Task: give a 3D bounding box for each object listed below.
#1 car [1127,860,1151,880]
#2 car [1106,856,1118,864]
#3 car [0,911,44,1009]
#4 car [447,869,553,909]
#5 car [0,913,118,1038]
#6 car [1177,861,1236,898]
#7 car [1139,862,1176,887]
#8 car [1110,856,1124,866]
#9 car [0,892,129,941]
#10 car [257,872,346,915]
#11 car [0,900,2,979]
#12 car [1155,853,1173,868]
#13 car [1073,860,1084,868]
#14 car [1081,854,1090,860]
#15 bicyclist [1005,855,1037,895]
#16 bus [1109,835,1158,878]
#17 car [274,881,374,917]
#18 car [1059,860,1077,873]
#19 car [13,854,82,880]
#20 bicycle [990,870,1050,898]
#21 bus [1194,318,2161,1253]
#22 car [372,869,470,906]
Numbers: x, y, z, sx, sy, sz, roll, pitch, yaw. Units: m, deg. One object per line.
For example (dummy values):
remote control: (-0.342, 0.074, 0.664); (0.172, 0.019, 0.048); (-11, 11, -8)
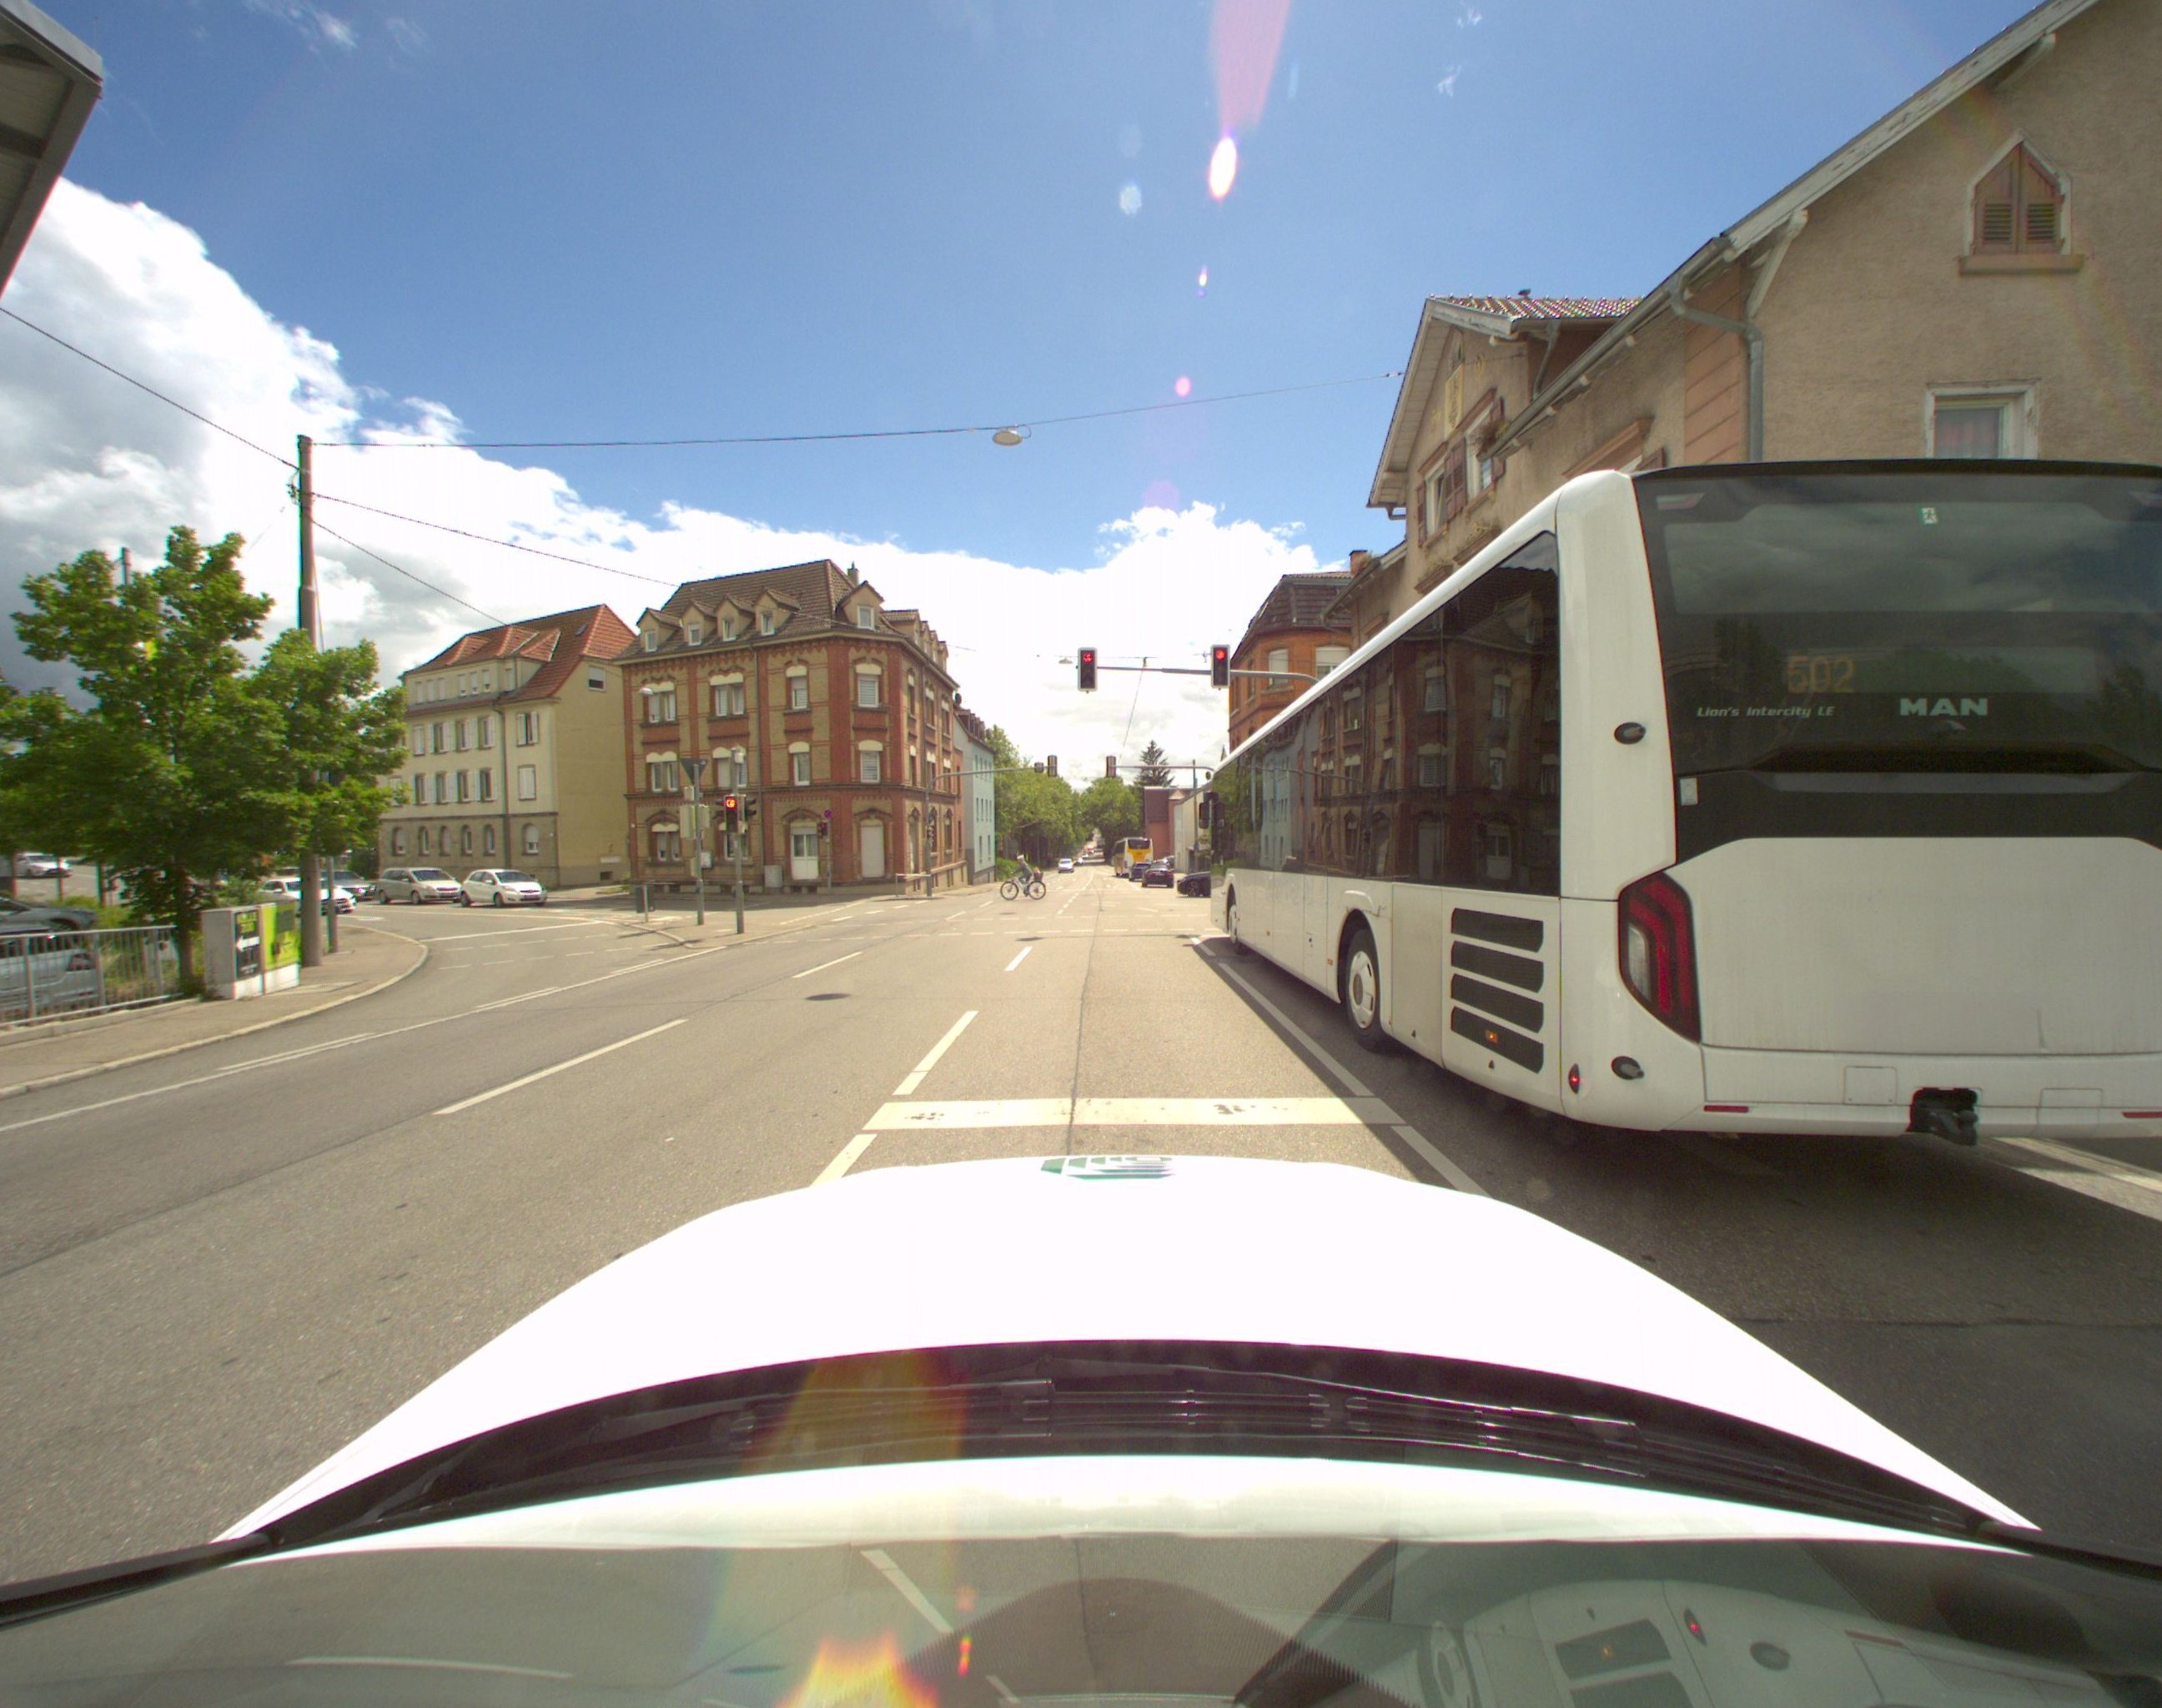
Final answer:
car: (4.335, 1.210, 61.111); (1.603, 1.376, 4.002); (-2, 0, 2)
car: (5.487, 1.090, 146.454); (1.874, 1.492, 3.998); (-2, 0, -1)
car: (-19.707, 1.837, 14.152); (3.744, 1.523, 1.526); (-1, 0, 30)
car: (-23.597, 1.392, 33.061); (3.951, 1.497, 1.711); (-1, 0, 24)
car: (-16.111, 1.745, 12.184); (3.638, 1.575, 1.766); (-1, -2, 34)
car: (4.844, 0.962, 31.990); (1.791, 1.276, 4.002); (-2, 0, 2)
car: (4.515, 1.190, 48.441); (1.858, 1.367, 4.549); (-2, 0, 2)
car: (5.733, 1.076, 129.459); (1.874, 1.492, 3.998); (-2, 0, -1)
car: (-29.250, 1.733, 22.213); (1.795, 1.186, 4.025); (-1, 0, 31)
car: (-30.094, 1.496, 31.396); (4.334, 1.447, 1.875); (-2, 0, 38)
car: (-23.399, 1.740, 16.431); (3.371, 1.575, 1.526); (-1, 0, 30)
car: (9.467, 0.765, 93.267); (1.760, 1.665, 4.002); (-2, 0, 2)
car: (-0.518, 1.887, 151.787); (1.858, 1.367, 4.549); (-2, 0, 2)
car: (1.114, 0.838, 212.865); (2.199, 1.613, 4.549); (-2, 0, 2)
bicyclist: (-2.305, 0.795, 31.362); (1.065, 1.499, 0.592); (-2, 0, 10)
bus: (4.803, 0.222, 76.997); (3.292, 3.631, 11.233); (-2, 0, -2)
car: (-35.451, 2.078, 38.138); (3.951, 1.519, 2.011); (-1, 0, 24)
car: (-1.627, 1.575, 102.206); (1.928, 1.563, 4.390); (-2, 0, 2)
car: (-66.307, 0.831, 52.228); (4.291, 1.586, 2.012); (-1, 0, 29)
bicycle: (-2.341, 1.149, 31.353); (2.172, 1.019, 0.608); (-2, 0, 9)
bus: (3.432, -0.216, 9.311); (2.893, 3.510, 12.492); (0, 0, 2)
car: (-29.206, 1.470, 36.047); (3.951, 1.519, 1.757); (-1, 0, 24)
